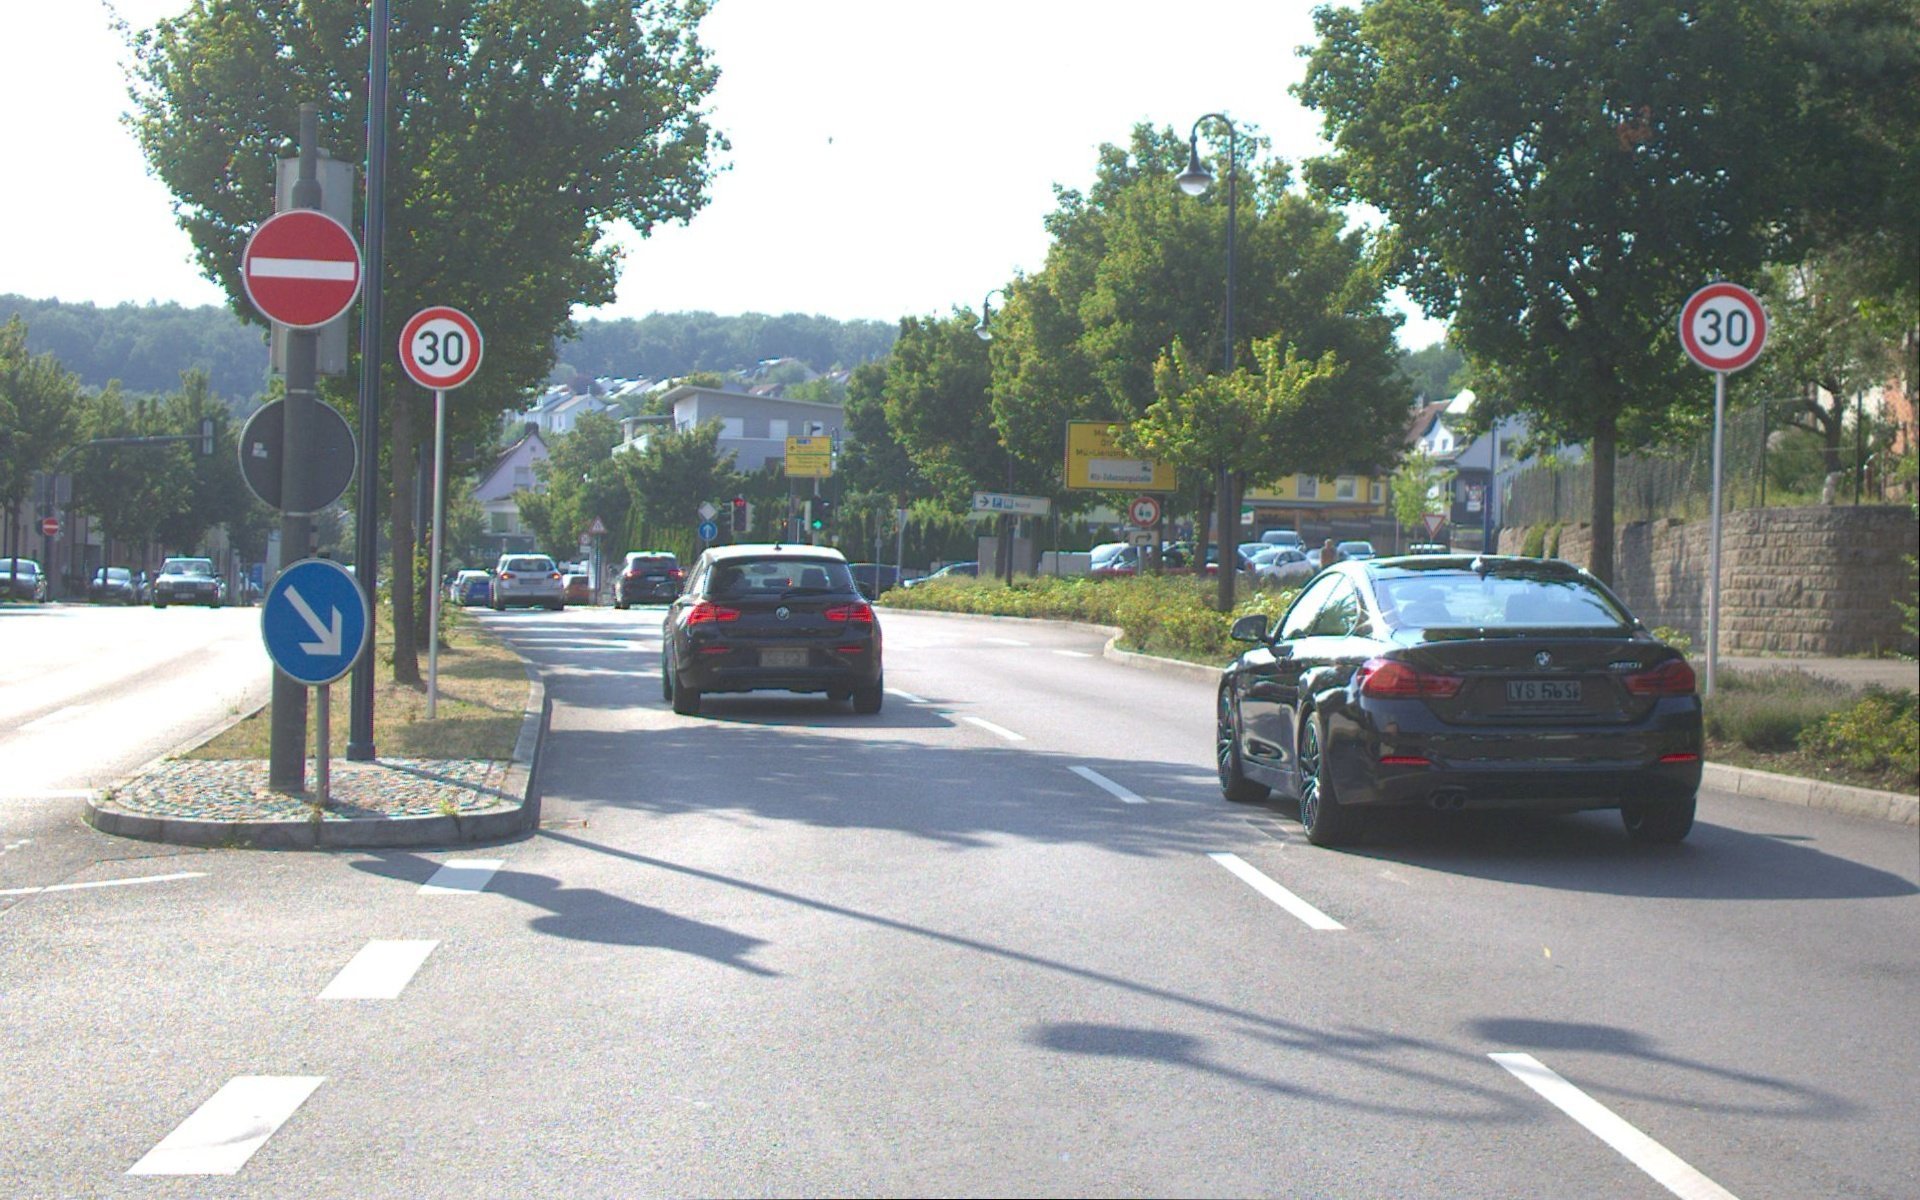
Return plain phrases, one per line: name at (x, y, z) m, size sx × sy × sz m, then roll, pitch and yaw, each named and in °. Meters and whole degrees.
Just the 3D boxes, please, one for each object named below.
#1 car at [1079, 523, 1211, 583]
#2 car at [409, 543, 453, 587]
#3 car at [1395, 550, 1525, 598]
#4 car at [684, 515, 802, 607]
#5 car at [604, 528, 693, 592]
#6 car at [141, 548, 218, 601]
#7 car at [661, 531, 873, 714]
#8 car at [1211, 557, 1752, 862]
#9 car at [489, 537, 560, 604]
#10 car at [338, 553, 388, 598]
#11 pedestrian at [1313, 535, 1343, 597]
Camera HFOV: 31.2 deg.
car at (6.773, -1.719, 125.722) m, size 2.144 × 2.122 × 5.113 m, roll 1°, pitch 1°, yaw 40°
car at (-24.987, -1.662, 162.585) m, size 1.772 × 2.007 × 4.001 m, roll 0°, pitch 1°, yaw -5°
car at (19.602, -1.029, 134.896) m, size 4.629 × 1.823 × 2.001 m, roll 0°, pitch 1°, yaw -11°
car at (-4.362, -0.789, 68.584) m, size 1.924 × 1.763 × 4.455 m, roll 0°, pitch 1°, yaw -9°
car at (-8.944, -1.156, 98.413) m, size 2.216 × 1.763 × 4.455 m, roll 0°, pitch 1°, yaw -9°
car at (-21.045, -0.706, 92.802) m, size 1.755 × 1.356 × 4.486 m, roll 0°, pitch 1°, yaw -10°
car at (-1.663, 0.149, 30.501) m, size 1.721 × 1.485 × 4.353 m, roll 1°, pitch 1°, yaw -2°
car at (2.494, 0.466, 17.549) m, size 1.920 × 1.359 × 4.353 m, roll 0°, pitch 1°, yaw -2°
car at (-11.708, -0.814, 92.273) m, size 1.755 × 1.763 × 3.972 m, roll 0°, pitch 1°, yaw -9°
car at (-22.962, -0.957, 132.337) m, size 1.729 × 1.673 × 4.001 m, roll 0°, pitch 1°, yaw -8°
pedestrian at (10.143, -0.942, 94.848) m, size 0.695 × 1.697 × 0.950 m, roll 0°, pitch 1°, yaw -1°
